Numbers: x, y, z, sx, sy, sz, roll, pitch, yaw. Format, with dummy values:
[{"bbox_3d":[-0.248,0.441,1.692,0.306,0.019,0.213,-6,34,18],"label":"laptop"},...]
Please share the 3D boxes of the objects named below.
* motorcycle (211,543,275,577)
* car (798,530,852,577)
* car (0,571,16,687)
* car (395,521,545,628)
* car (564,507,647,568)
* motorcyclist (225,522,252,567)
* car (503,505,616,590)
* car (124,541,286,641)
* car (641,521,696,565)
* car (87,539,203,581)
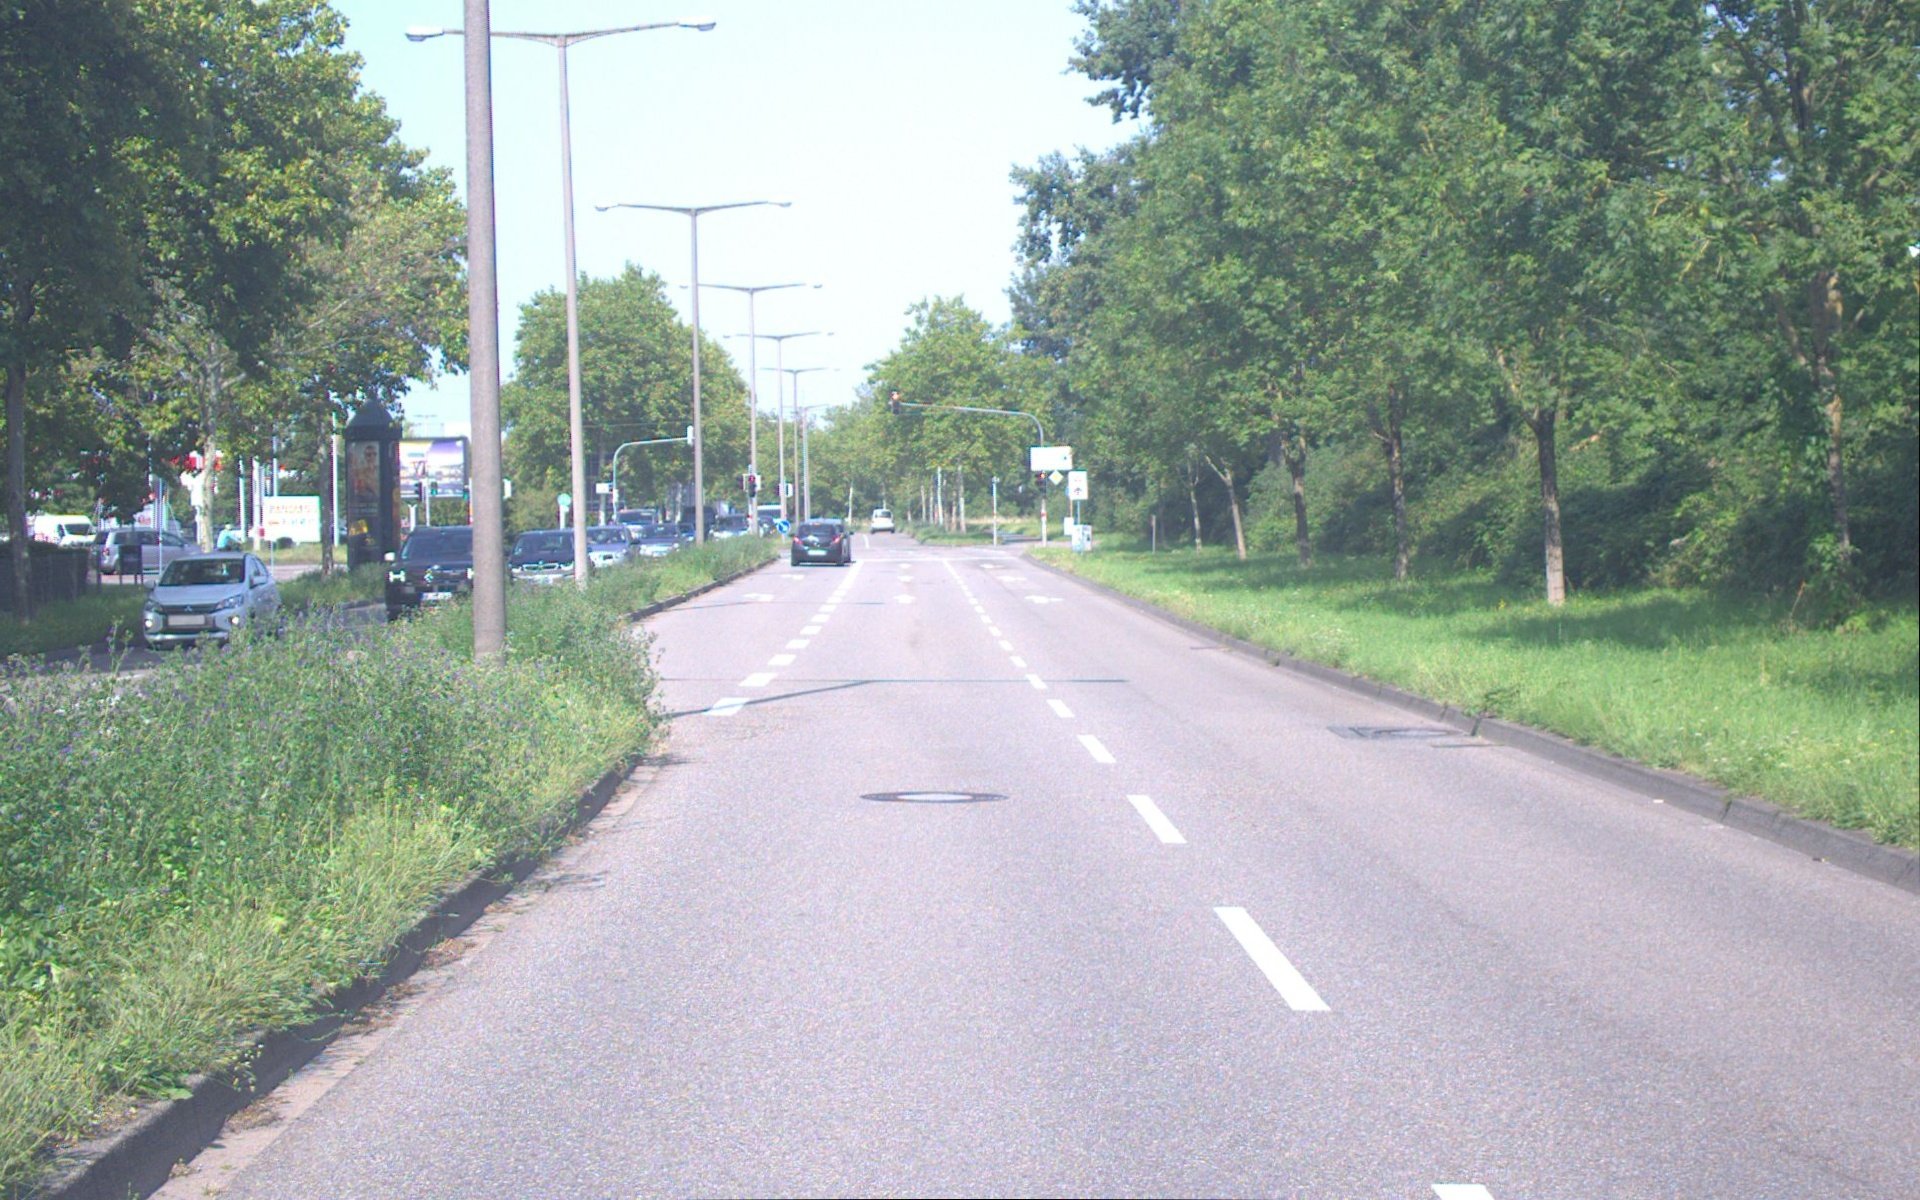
[{"bbox_3d":[-24.930,-1.399,119.609,2.070,1.132,0.677,-1,1,-36],"label":"motorcycle"},{"bbox_3d":[-4.453,-1.554,113.873,1.692,1.480,4.000,-1,1,-1],"label":"car"},{"bbox_3d":[-11.364,0.389,35.852,1.791,1.258,4.095,-2,1,1],"label":"car"},{"bbox_3d":[-8.676,-0.481,61.275,1.993,1.753,4.477,-3,1,-1],"label":"car"},{"bbox_3d":[-9.615,-1.690,93.541,1.879,1.588,4.109,-1,1,-1],"label":"car"},{"bbox_3d":[-25.087,-1.929,119.491,0.681,1.566,0.683,-1,1,-36],"label":"motorcyclist"},{"bbox_3d":[-8.945,-1.176,77.055,1.993,1.753,4.307,-3,1,-1],"label":"car"},{"bbox_3d":[-11.949,-0.175,54.628,1.790,1.477,4.001,-1,1,-2],"label":"car"},{"bbox_3d":[-10.022,-1.963,118.268,1.676,1.481,3.493,0,1,-2],"label":"car"},{"bbox_3d":[-28.672,-1.411,120.946,3.691,1.438,1.466,-1,1,-37],"label":"car"}]
